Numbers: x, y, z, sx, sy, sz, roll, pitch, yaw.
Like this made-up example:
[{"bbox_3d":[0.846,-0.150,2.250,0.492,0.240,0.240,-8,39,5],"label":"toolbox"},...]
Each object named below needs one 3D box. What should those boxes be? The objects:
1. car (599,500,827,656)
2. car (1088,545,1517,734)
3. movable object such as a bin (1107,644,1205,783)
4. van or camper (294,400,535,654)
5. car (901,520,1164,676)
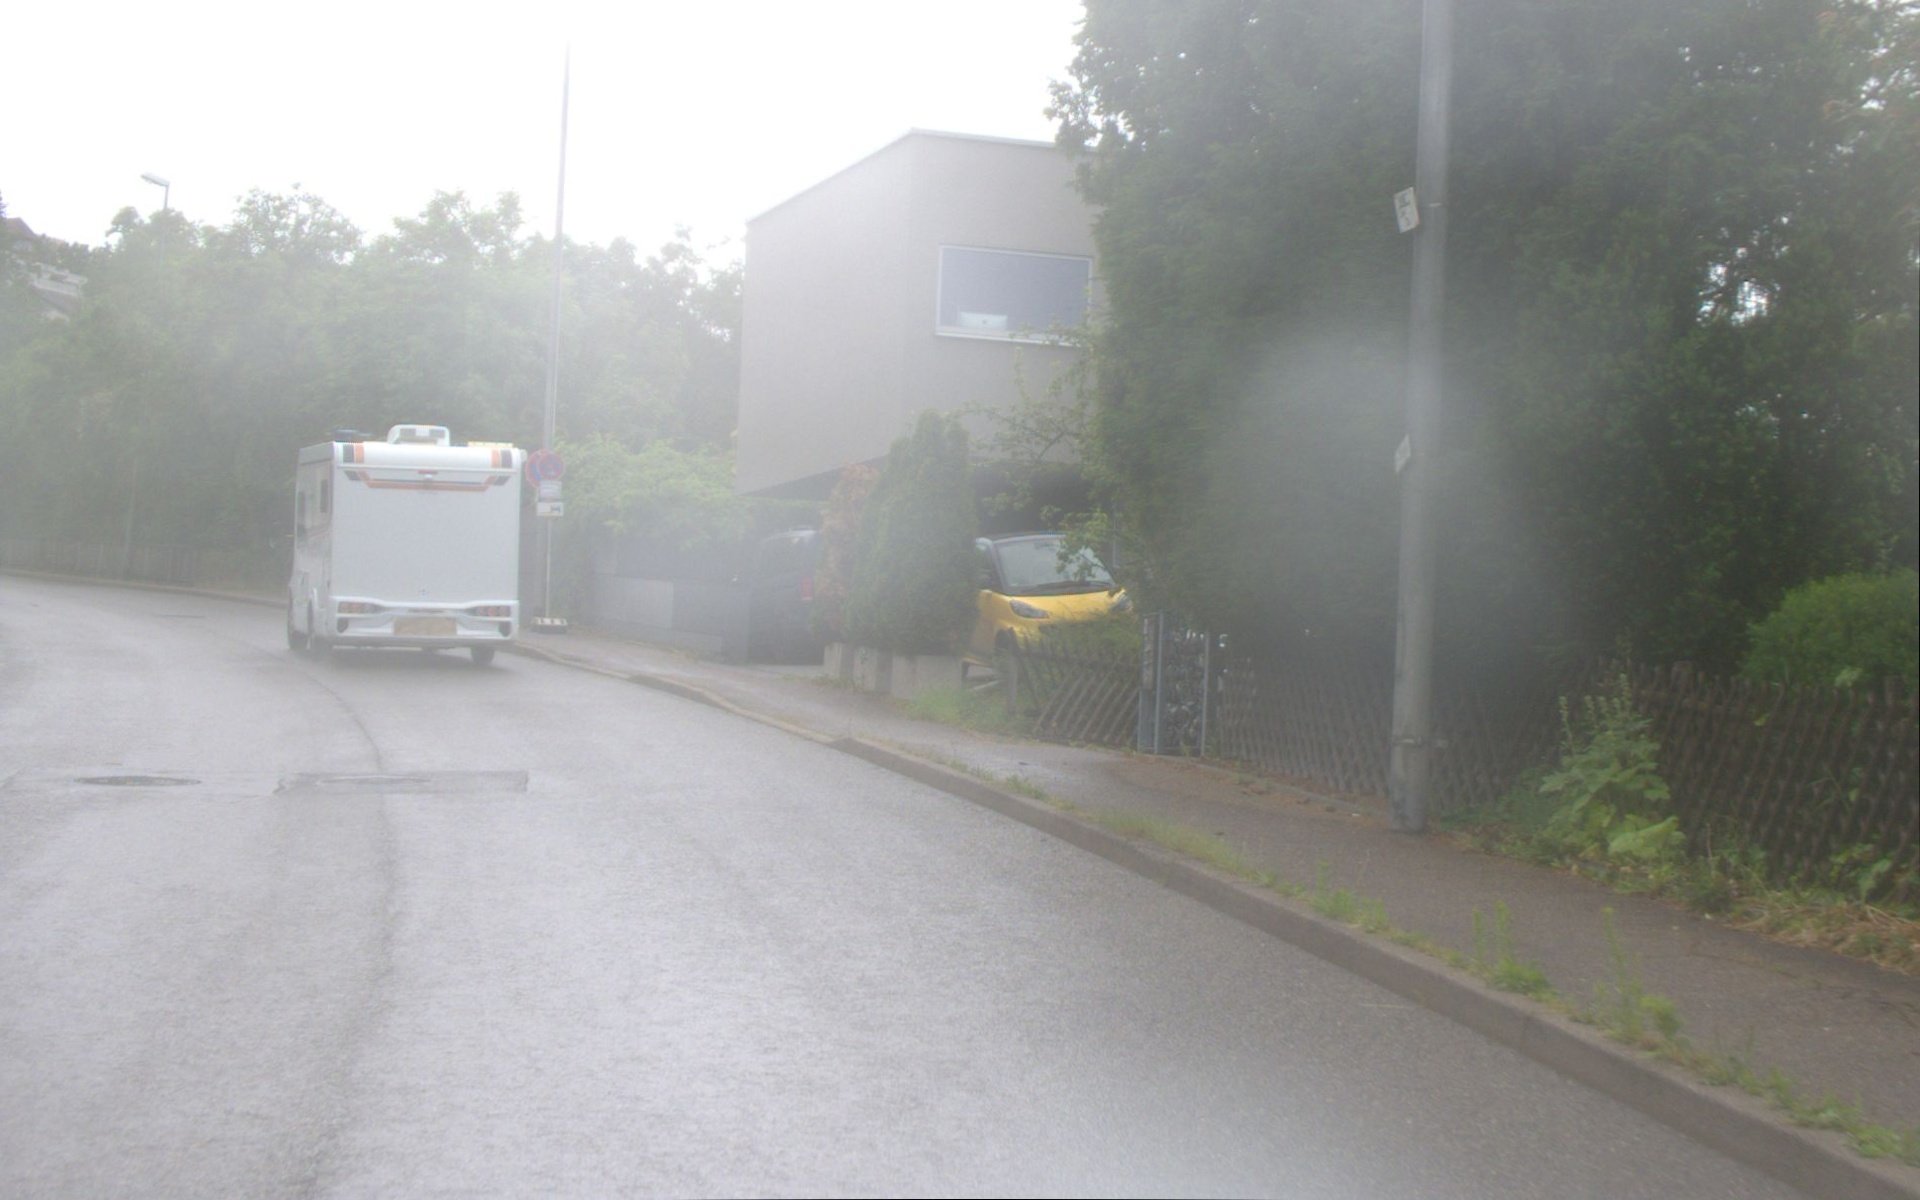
[{"bbox_3d":[-3.466,-0.248,47.367,1.993,1.934,4.774,2,-2,-18],"label":"car"},{"bbox_3d":[3.217,0.408,32.042,3.762,1.655,1.776,1,-3,-37],"label":"car"},{"bbox_3d":[1.456,0.842,25.616,0.504,0.966,0.595,5,0,-13],"label":"movable object such as a bin"},{"bbox_3d":[-6.922,-0.858,43.037,2.539,2.915,5.949,1,0,-13],"label":"van or camper"},{"bbox_3d":[0.727,-0.041,36.802,1.627,1.488,3.428,-4,2,-19],"label":"car"}]
